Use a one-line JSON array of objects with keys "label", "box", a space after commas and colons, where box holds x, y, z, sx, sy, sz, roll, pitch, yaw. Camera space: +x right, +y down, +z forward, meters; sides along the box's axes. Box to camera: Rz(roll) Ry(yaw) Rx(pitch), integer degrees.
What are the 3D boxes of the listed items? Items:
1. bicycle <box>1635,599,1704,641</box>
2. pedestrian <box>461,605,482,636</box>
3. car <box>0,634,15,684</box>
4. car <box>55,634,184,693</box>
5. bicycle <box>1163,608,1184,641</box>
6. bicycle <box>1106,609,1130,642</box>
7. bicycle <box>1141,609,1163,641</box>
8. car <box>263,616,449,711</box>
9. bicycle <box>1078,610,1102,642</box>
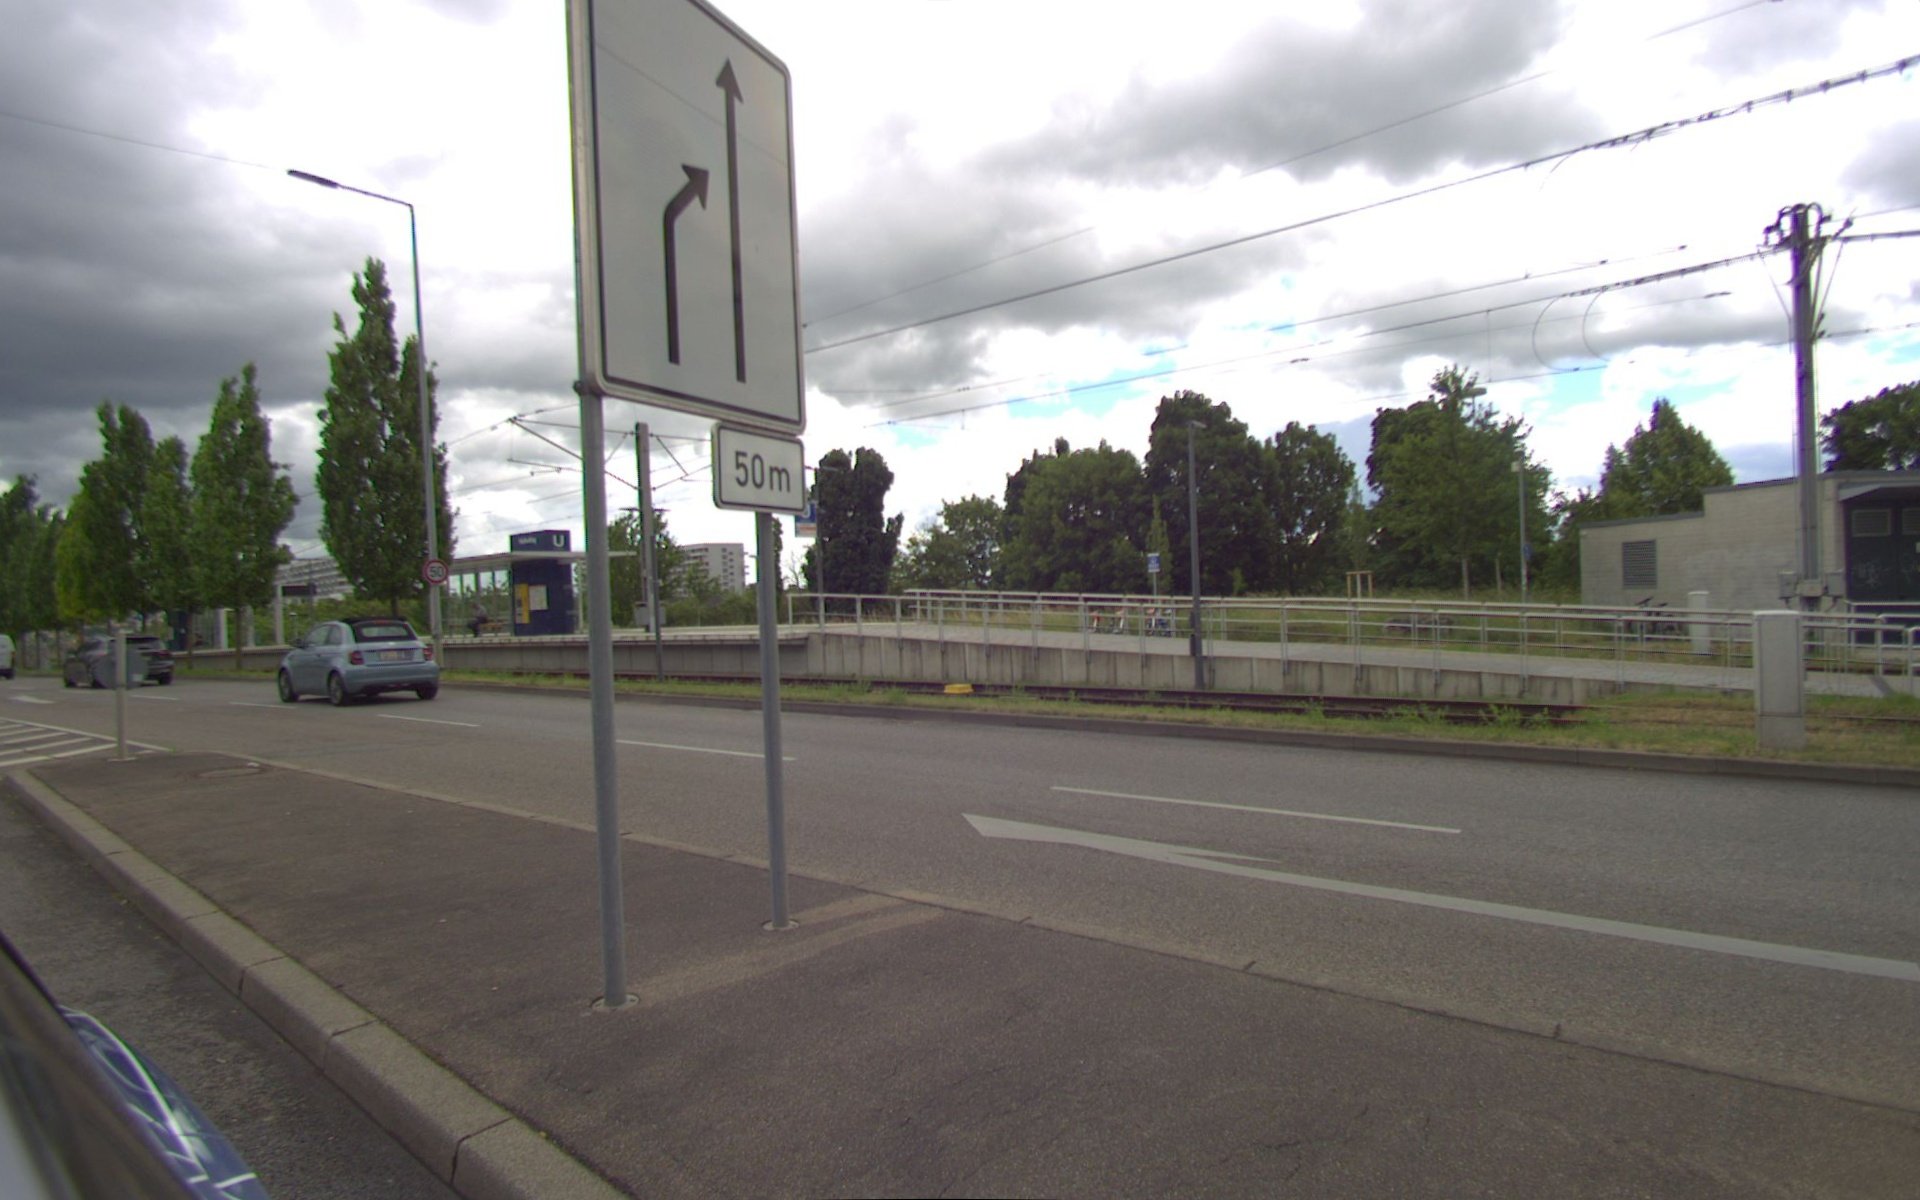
[{"label": "bicycle", "box": [18.268, 0.501, 26.095, 0.529, 1.039, 1.813, -1, 0, 1]}, {"label": "pedestrian", "box": [-18.294, 0.769, 37.900, 0.447, 1.163, 0.593, -1, 0, 41]}, {"label": "car", "box": [-41.358, 2.455, 42.286, 5.365, 1.979, 1.897, -1, 0, 38]}, {"label": "car", "box": [-23.648, 1.725, 28.418, 4.426, 1.435, 1.853, -1, 0, 37]}, {"label": "bicycle", "box": [7.125, 0.802, 33.677, 0.531, 1.039, 1.804, -1, 0, 16]}, {"label": "bicycle", "box": [5.390, 0.856, 34.438, 0.531, 1.039, 1.804, -1, 0, 16]}, {"label": "bicycle", "box": [6.446, 0.825, 33.985, 0.531, 1.039, 1.804, -1, 0, 16]}, {"label": "car", "box": [-11.244, 1.096, 18.784, 3.594, 1.540, 1.740, -1, 0, 37]}, {"label": "bicycle", "box": [4.473, 0.886, 34.725, 0.531, 1.039, 1.804, -1, 0, 16]}]
